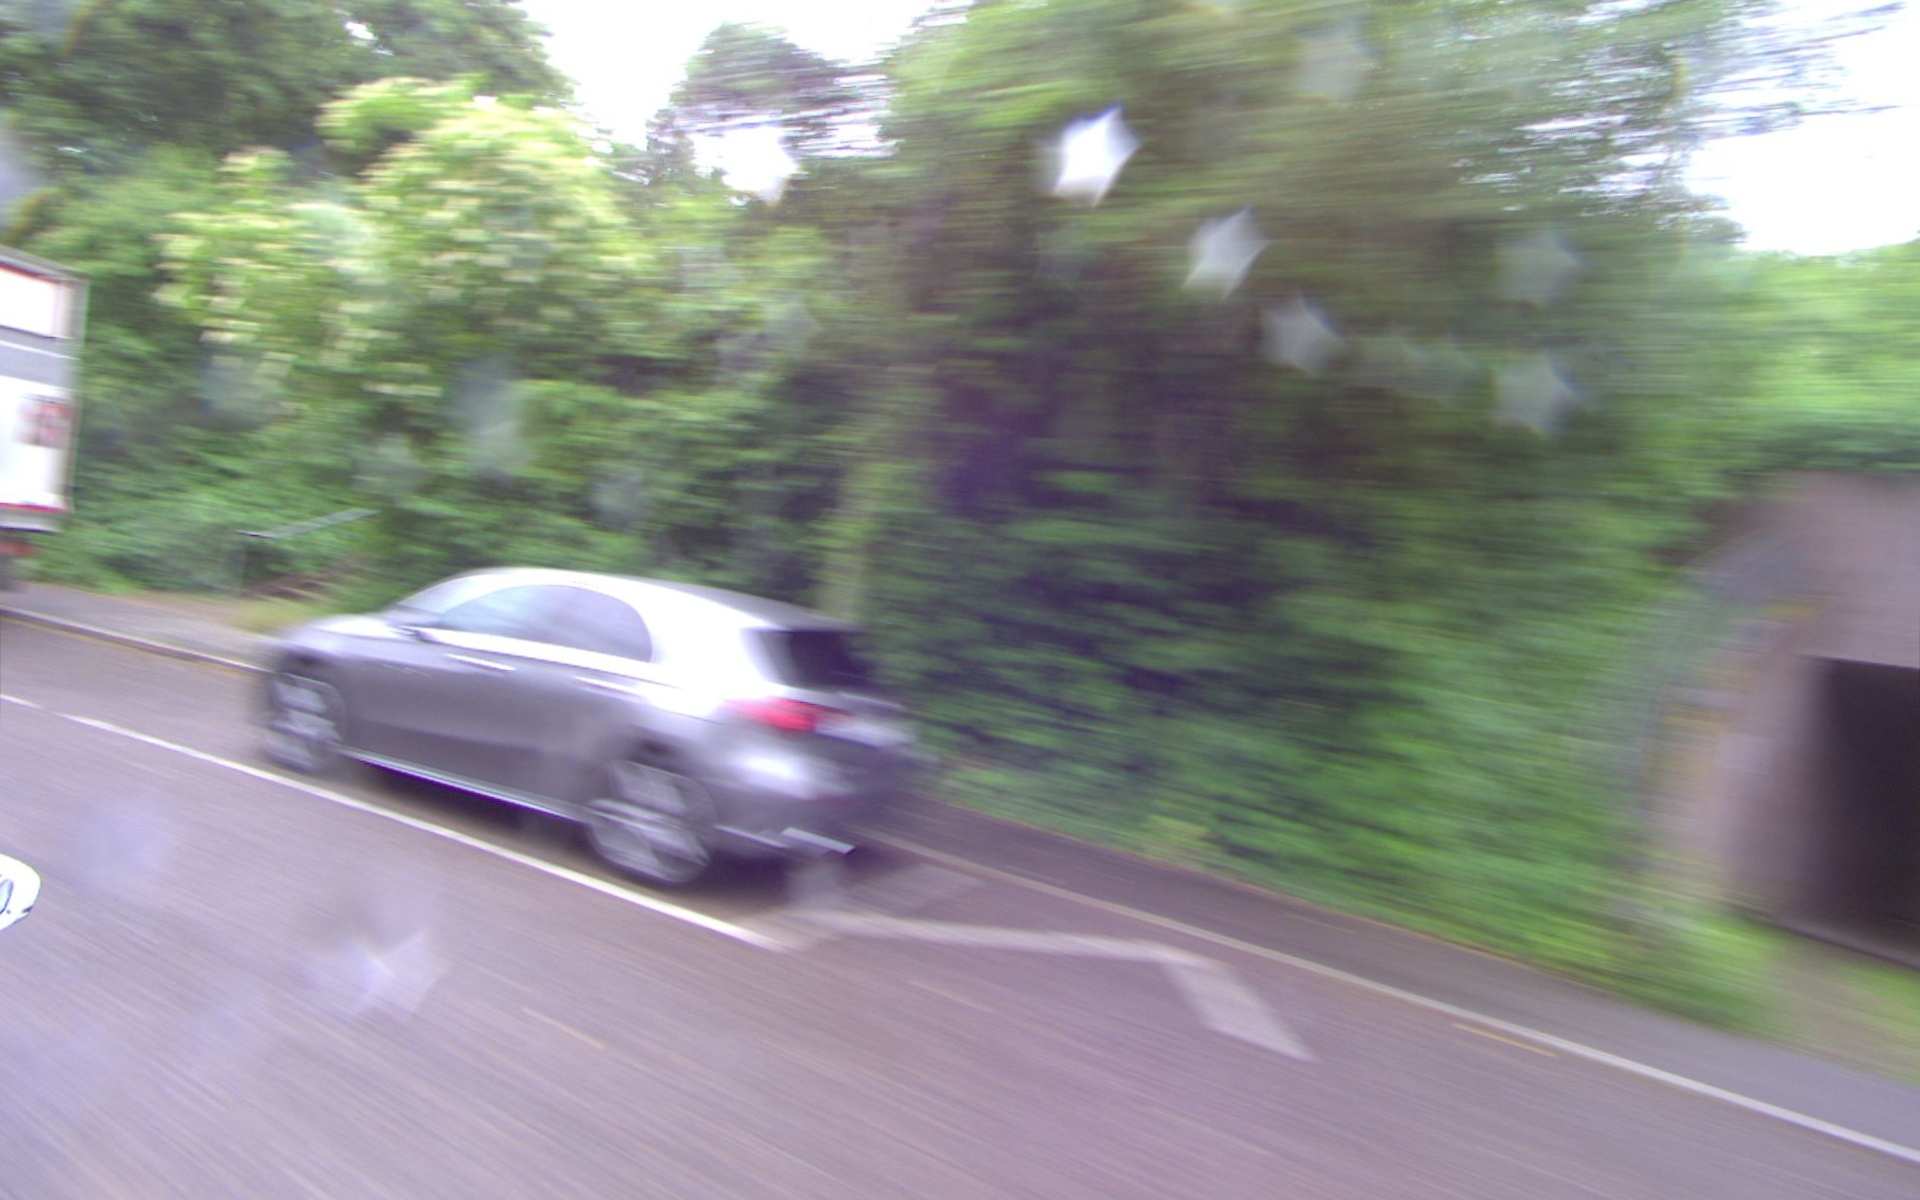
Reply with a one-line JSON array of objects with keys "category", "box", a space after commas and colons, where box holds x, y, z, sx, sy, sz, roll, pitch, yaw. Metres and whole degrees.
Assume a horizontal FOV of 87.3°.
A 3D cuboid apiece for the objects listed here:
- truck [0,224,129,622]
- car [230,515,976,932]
[{"category": "truck", "box": [-12.952, -2.170, 9.654, 8.177, 3.618, 3.018, 8, 1, 12]}, {"category": "car", "box": [-2.178, 0.535, 6.055, 4.051, 1.461, 1.725, 8, 0, 25]}]
